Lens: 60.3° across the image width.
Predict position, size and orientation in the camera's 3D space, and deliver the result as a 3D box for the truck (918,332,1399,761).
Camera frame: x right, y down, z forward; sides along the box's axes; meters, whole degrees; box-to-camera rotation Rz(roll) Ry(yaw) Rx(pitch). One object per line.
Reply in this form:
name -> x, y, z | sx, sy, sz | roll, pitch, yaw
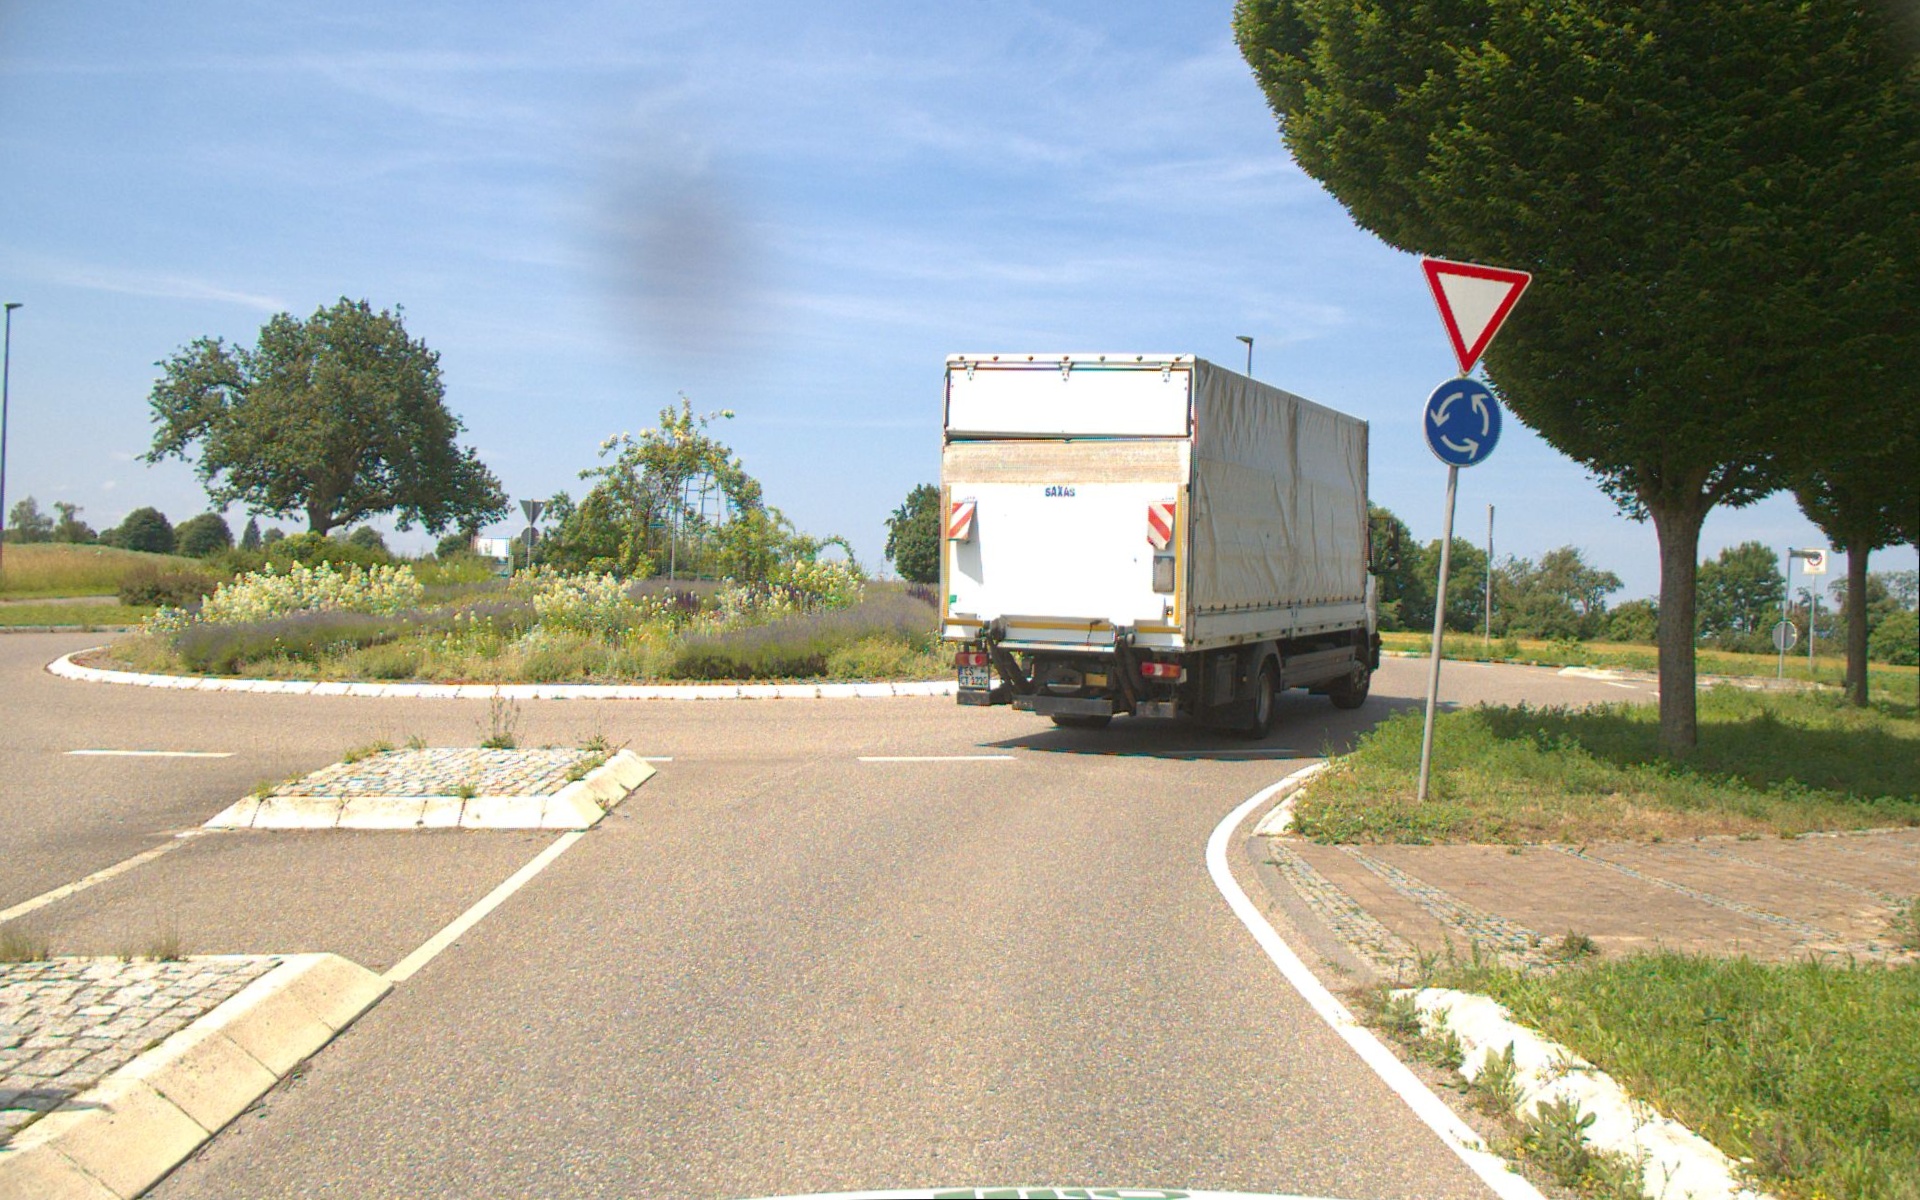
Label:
truck -> 2.837, -0.525, 19.237 | 2.712, 3.735, 9.376 | 1, 1, 25
